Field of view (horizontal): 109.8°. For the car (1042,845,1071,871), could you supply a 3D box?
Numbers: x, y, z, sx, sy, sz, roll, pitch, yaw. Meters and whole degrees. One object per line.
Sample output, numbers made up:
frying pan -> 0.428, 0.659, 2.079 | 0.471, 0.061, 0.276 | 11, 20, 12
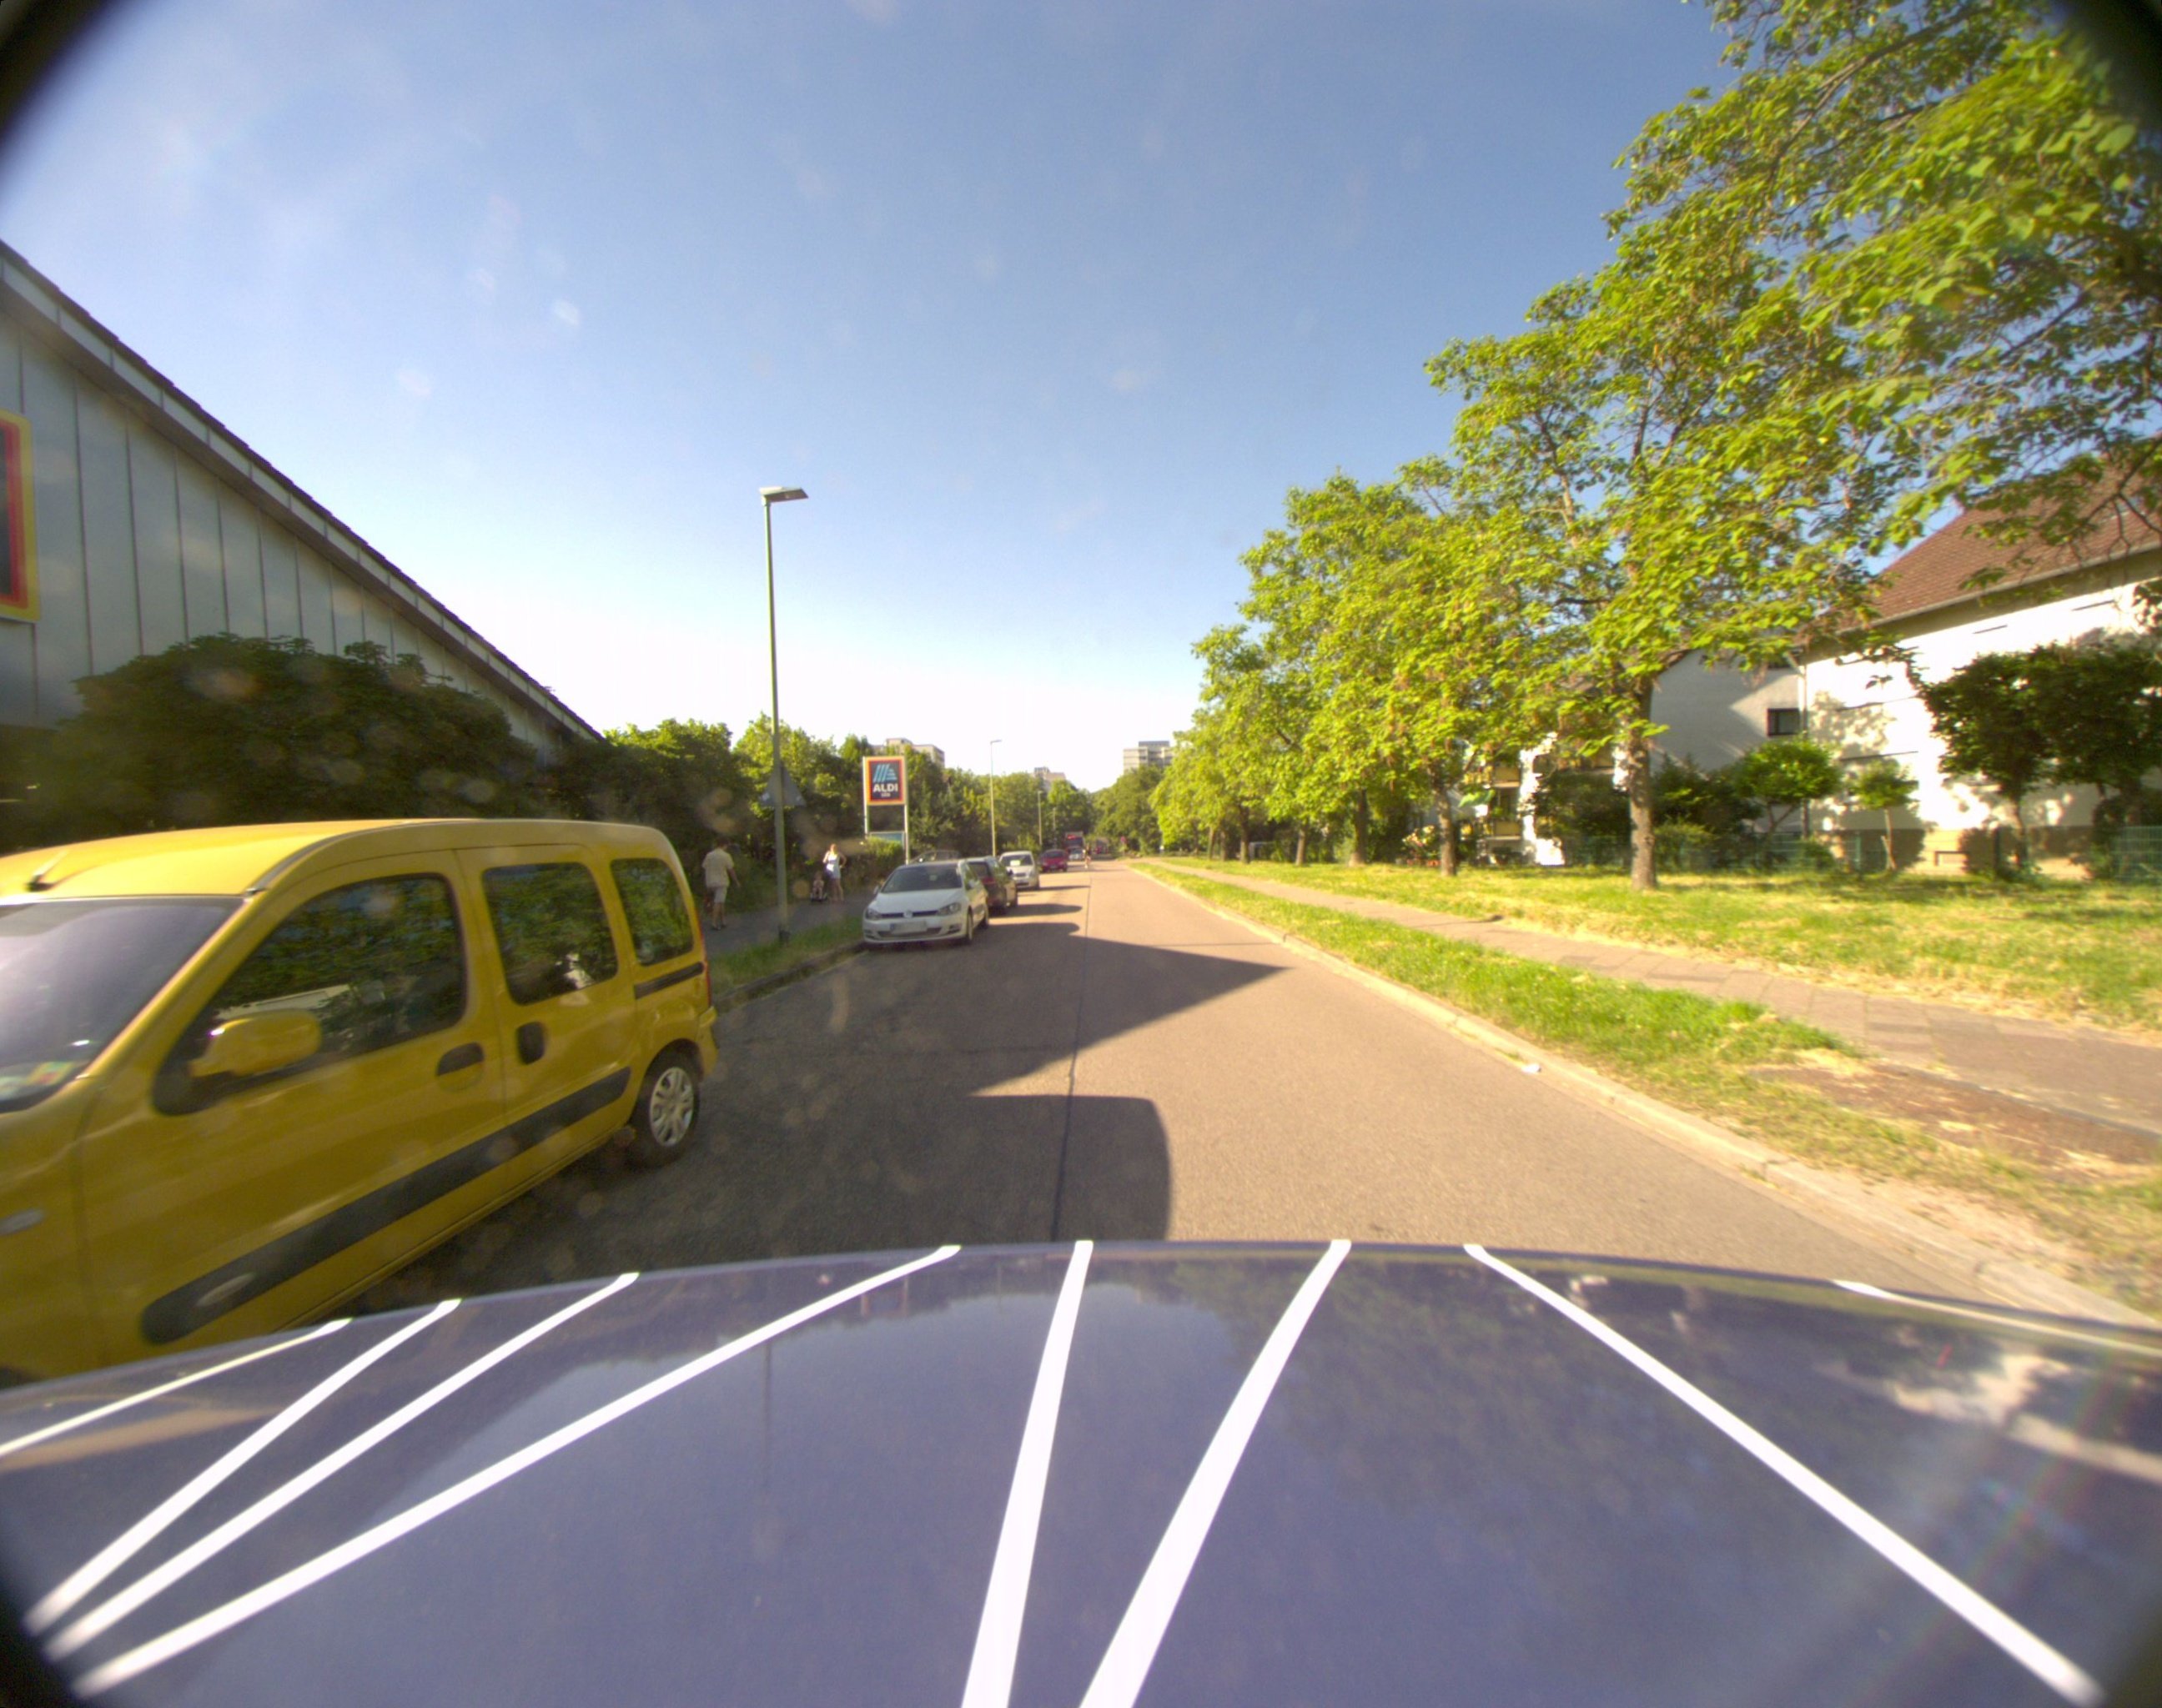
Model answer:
car -> -1.810, 0.298, 57.949 | 1.844, 1.795, 4.653 | -2, 1, 2

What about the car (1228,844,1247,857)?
car -> 19.425, -0.450, 94.442 | 1.674, 1.479, 3.884 | -1, 2, 0

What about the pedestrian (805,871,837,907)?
pedestrian -> -7.529, 0.997, 22.025 | 0.533, 0.975, 0.811 | -2, 1, 9

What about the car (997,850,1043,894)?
car -> -2.424, 0.671, 31.123 | 1.684, 1.590, 4.026 | -2, 1, -2

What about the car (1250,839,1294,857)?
car -> 21.437, -0.657, 85.284 | 4.461, 1.958, 2.069 | -1, 0, 4

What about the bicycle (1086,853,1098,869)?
bicycle -> 0.876, 0.570, 61.293 | 0.863, 1.164, 3.030 | -2, 1, 0

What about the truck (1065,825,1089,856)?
truck -> -0.493, -1.988, 113.472 | 3.166, 4.320, 10.582 | -1, 1, 2

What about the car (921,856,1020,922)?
car -> -2.760, 0.826, 19.999 | 1.812, 1.435, 4.363 | -2, 1, 1

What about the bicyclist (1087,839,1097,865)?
bicyclist -> 0.904, -0.160, 61.255 | 0.753, 2.002, 0.711 | -2, 2, 0

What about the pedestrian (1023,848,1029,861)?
pedestrian -> -6.741, 0.068, 93.159 | 0.641, 1.629, 0.641 | -1, 1, 4

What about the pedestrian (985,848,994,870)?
pedestrian -> -6.568, 0.362, 54.784 | 0.574, 1.600, 0.792 | 0, 3, -2

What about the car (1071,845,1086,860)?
car -> -0.341, -0.227, 97.635 | 1.845, 1.795, 4.028 | -2, 1, 1

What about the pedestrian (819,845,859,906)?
pedestrian -> -7.257, 0.635, 22.811 | 0.800, 1.771, 0.809 | -1, 1, 9

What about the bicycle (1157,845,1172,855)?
bicycle -> 10.945, -0.521, 99.846 | 1.902, 1.146, 0.760 | -1, 5, 11

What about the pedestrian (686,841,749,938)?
pedestrian -> -7.208, 0.675, 15.108 | 0.796, 1.850, 0.874 | -2, 1, -6

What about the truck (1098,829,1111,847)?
truck -> 5.496, -3.732, 178.172 | 2.803, 3.997, 9.622 | 0, 2, 0

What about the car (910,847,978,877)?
car -> -8.274, 0.464, 45.869 | 3.759, 1.635, 1.853 | -2, 1, -20

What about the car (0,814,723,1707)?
car -> -3.021, 0.842, 2.371 | 1.728, 1.827, 4.000 | -2, 1, 2

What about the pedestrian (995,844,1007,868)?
pedestrian -> -5.757, 0.136, 54.743 | 0.806, 1.707, 0.983 | 0, 3, -2

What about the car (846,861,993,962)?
car -> -2.795, 0.931, 14.093 | 1.831, 1.443, 3.999 | -2, 1, 0
